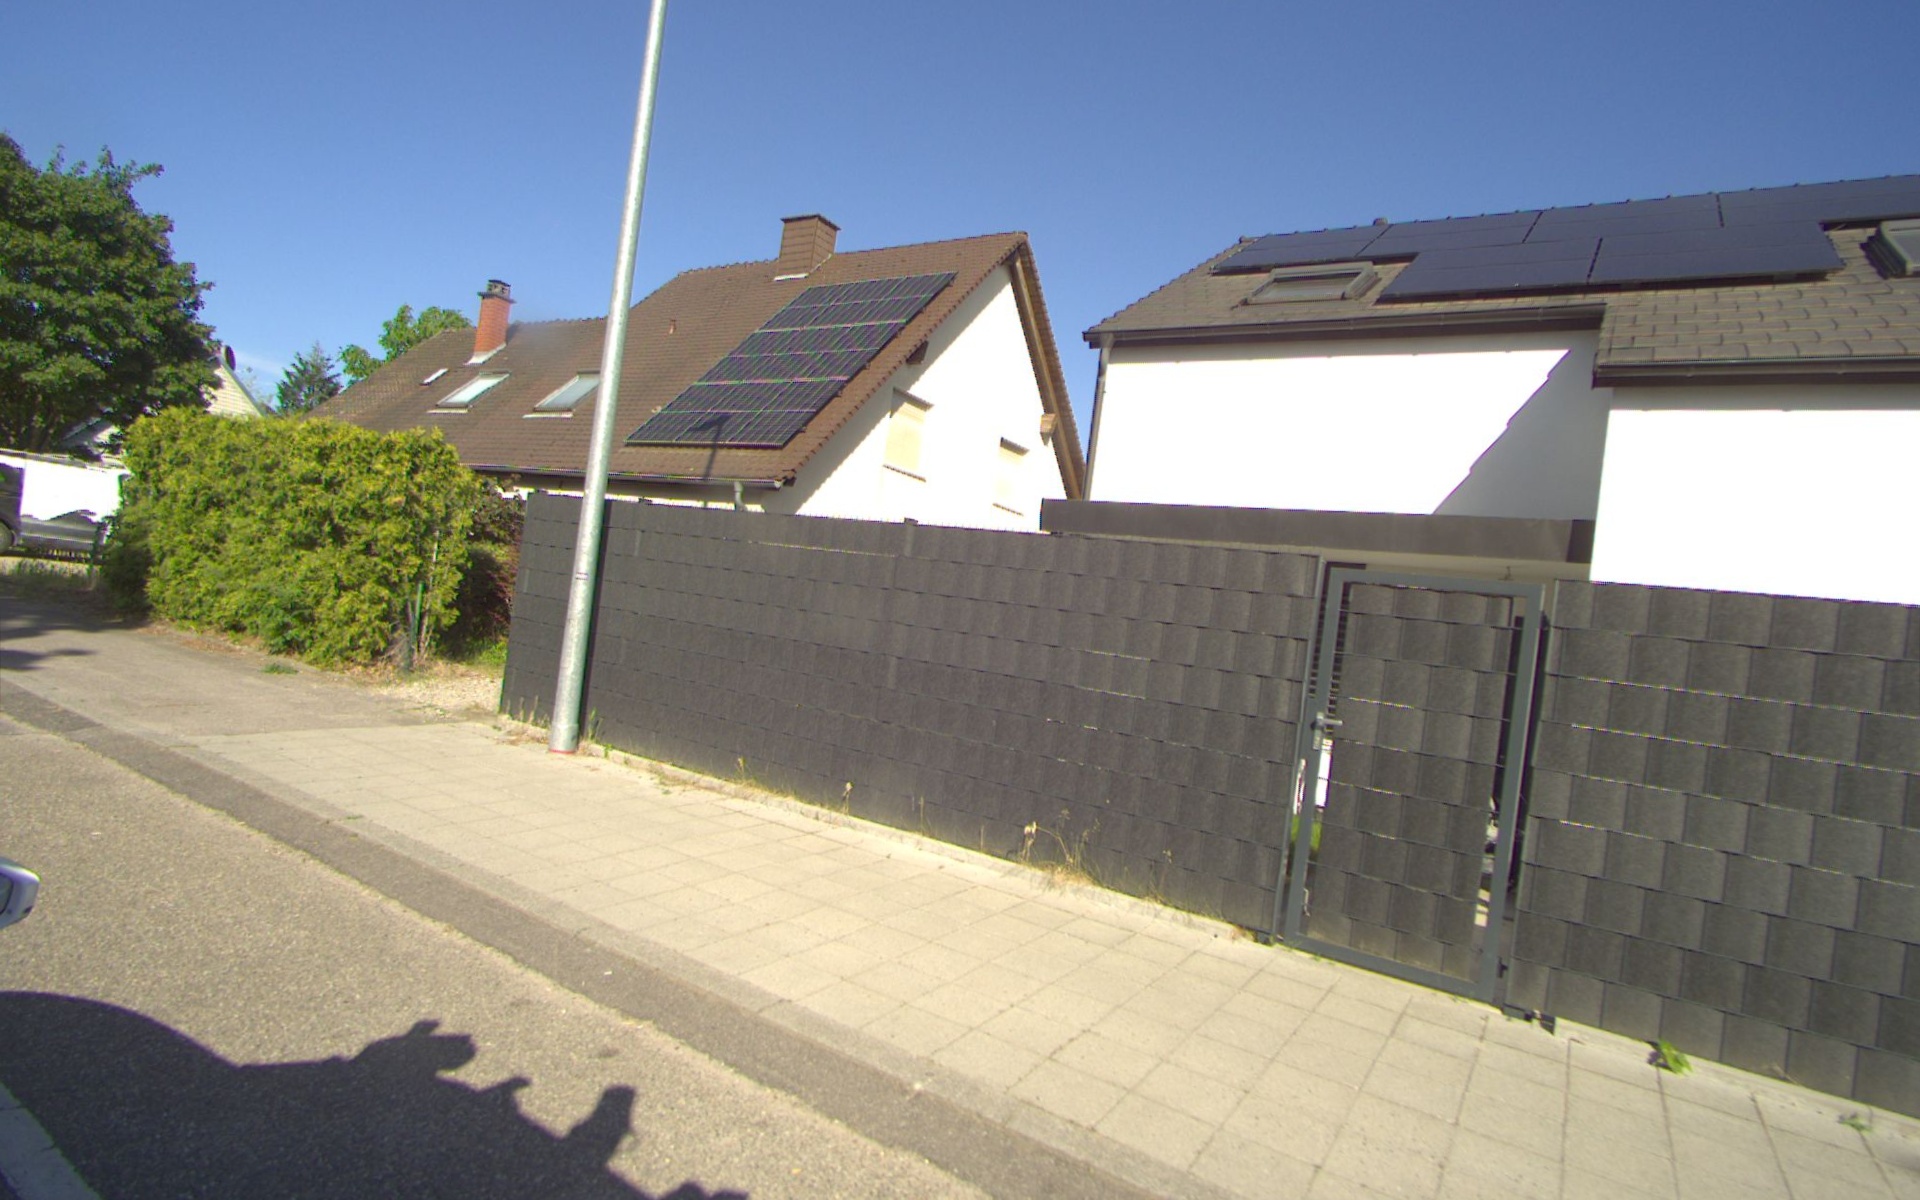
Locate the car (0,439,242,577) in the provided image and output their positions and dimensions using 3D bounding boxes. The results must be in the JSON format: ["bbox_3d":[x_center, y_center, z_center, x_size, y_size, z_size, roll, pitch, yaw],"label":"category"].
[{"bbox_3d":[-17.155,-1.798,19.492,2.108,2.007,4.689,6,-2,32],"label":"car"}]
